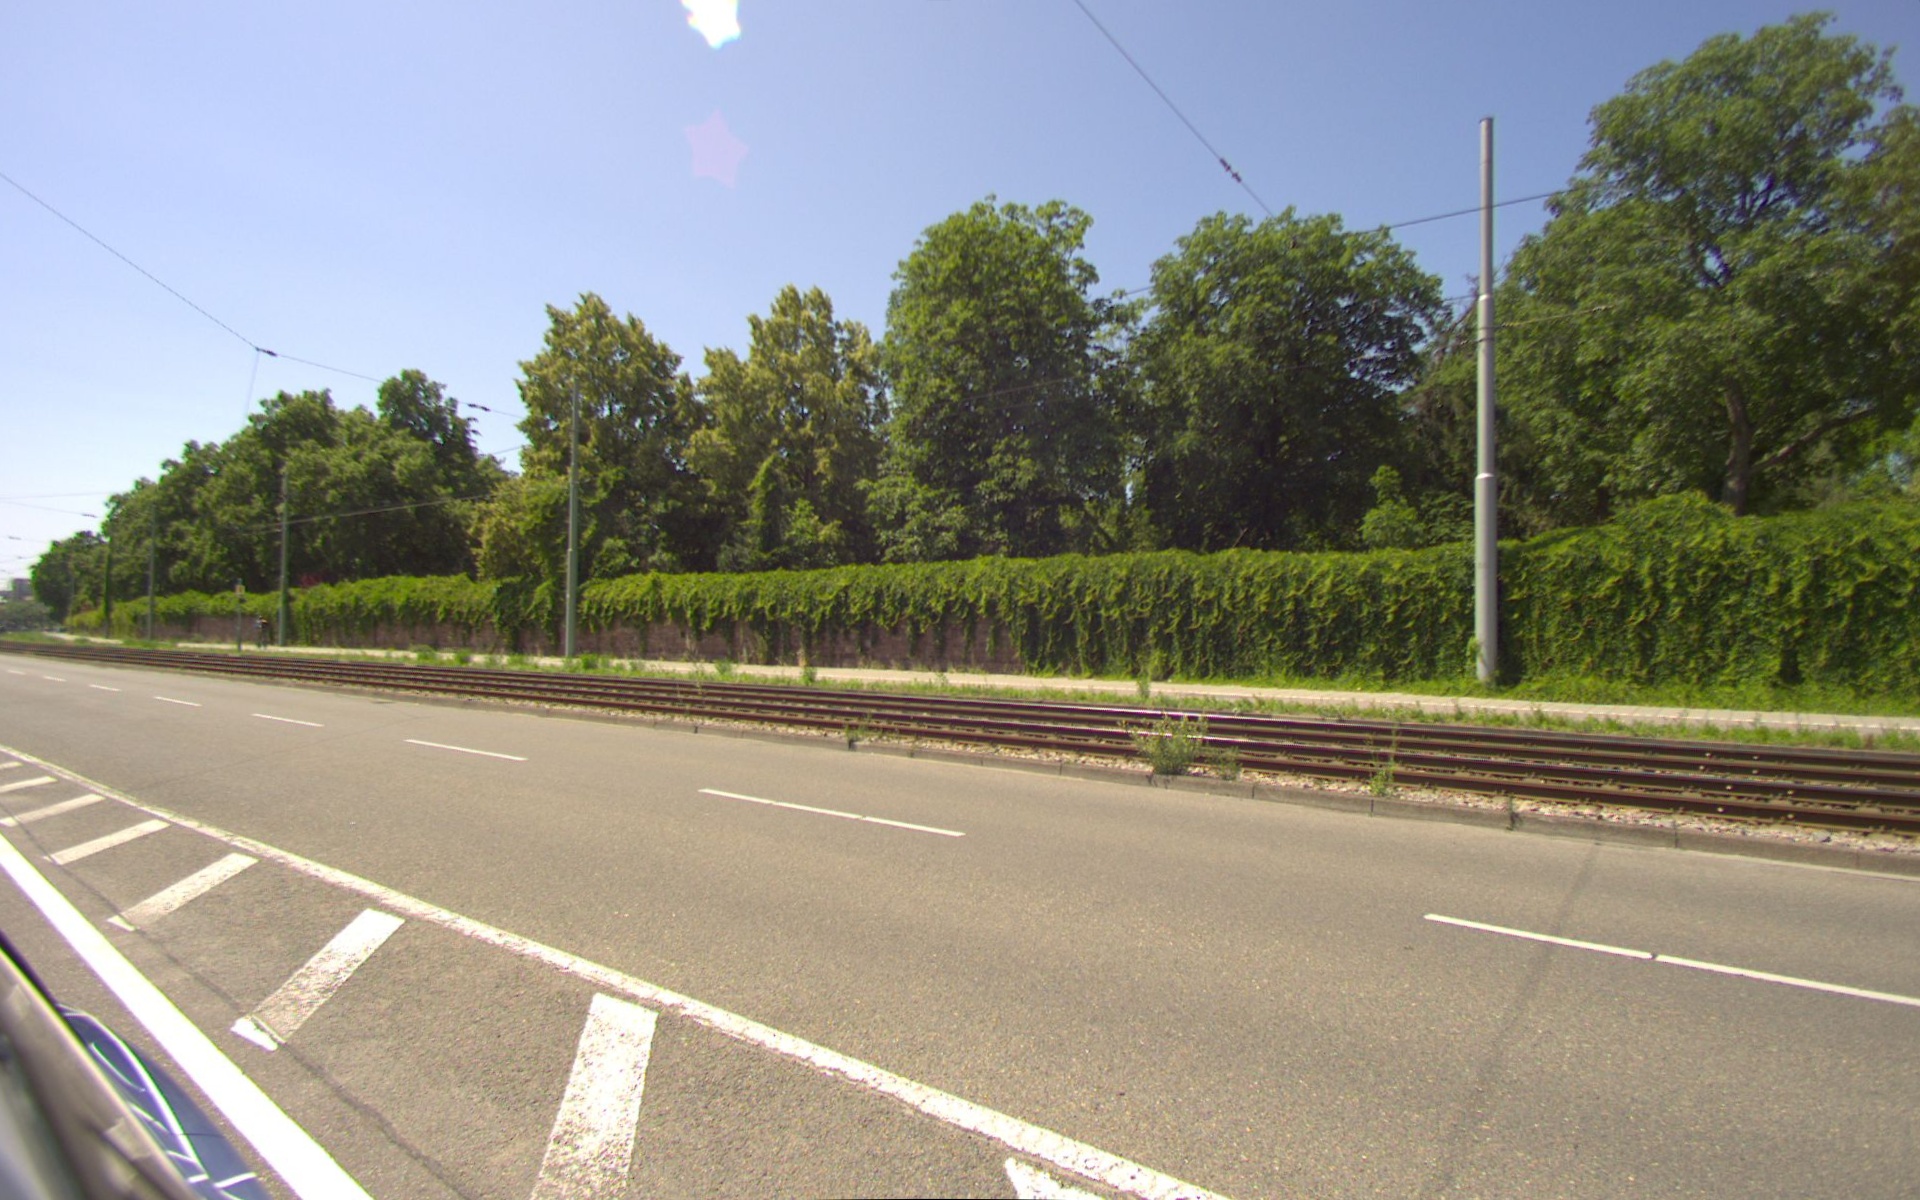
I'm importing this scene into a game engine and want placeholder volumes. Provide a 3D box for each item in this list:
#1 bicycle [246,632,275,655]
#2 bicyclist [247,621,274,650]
[{"bbox_3d":[-36.913,2.265,53.377,0.819,1.165,2.687,1,-2,-44],"label":"bicycle"},{"bbox_3d":[-36.952,1.855,53.436,0.983,1.497,1.001,1,-2,-45],"label":"bicyclist"}]
